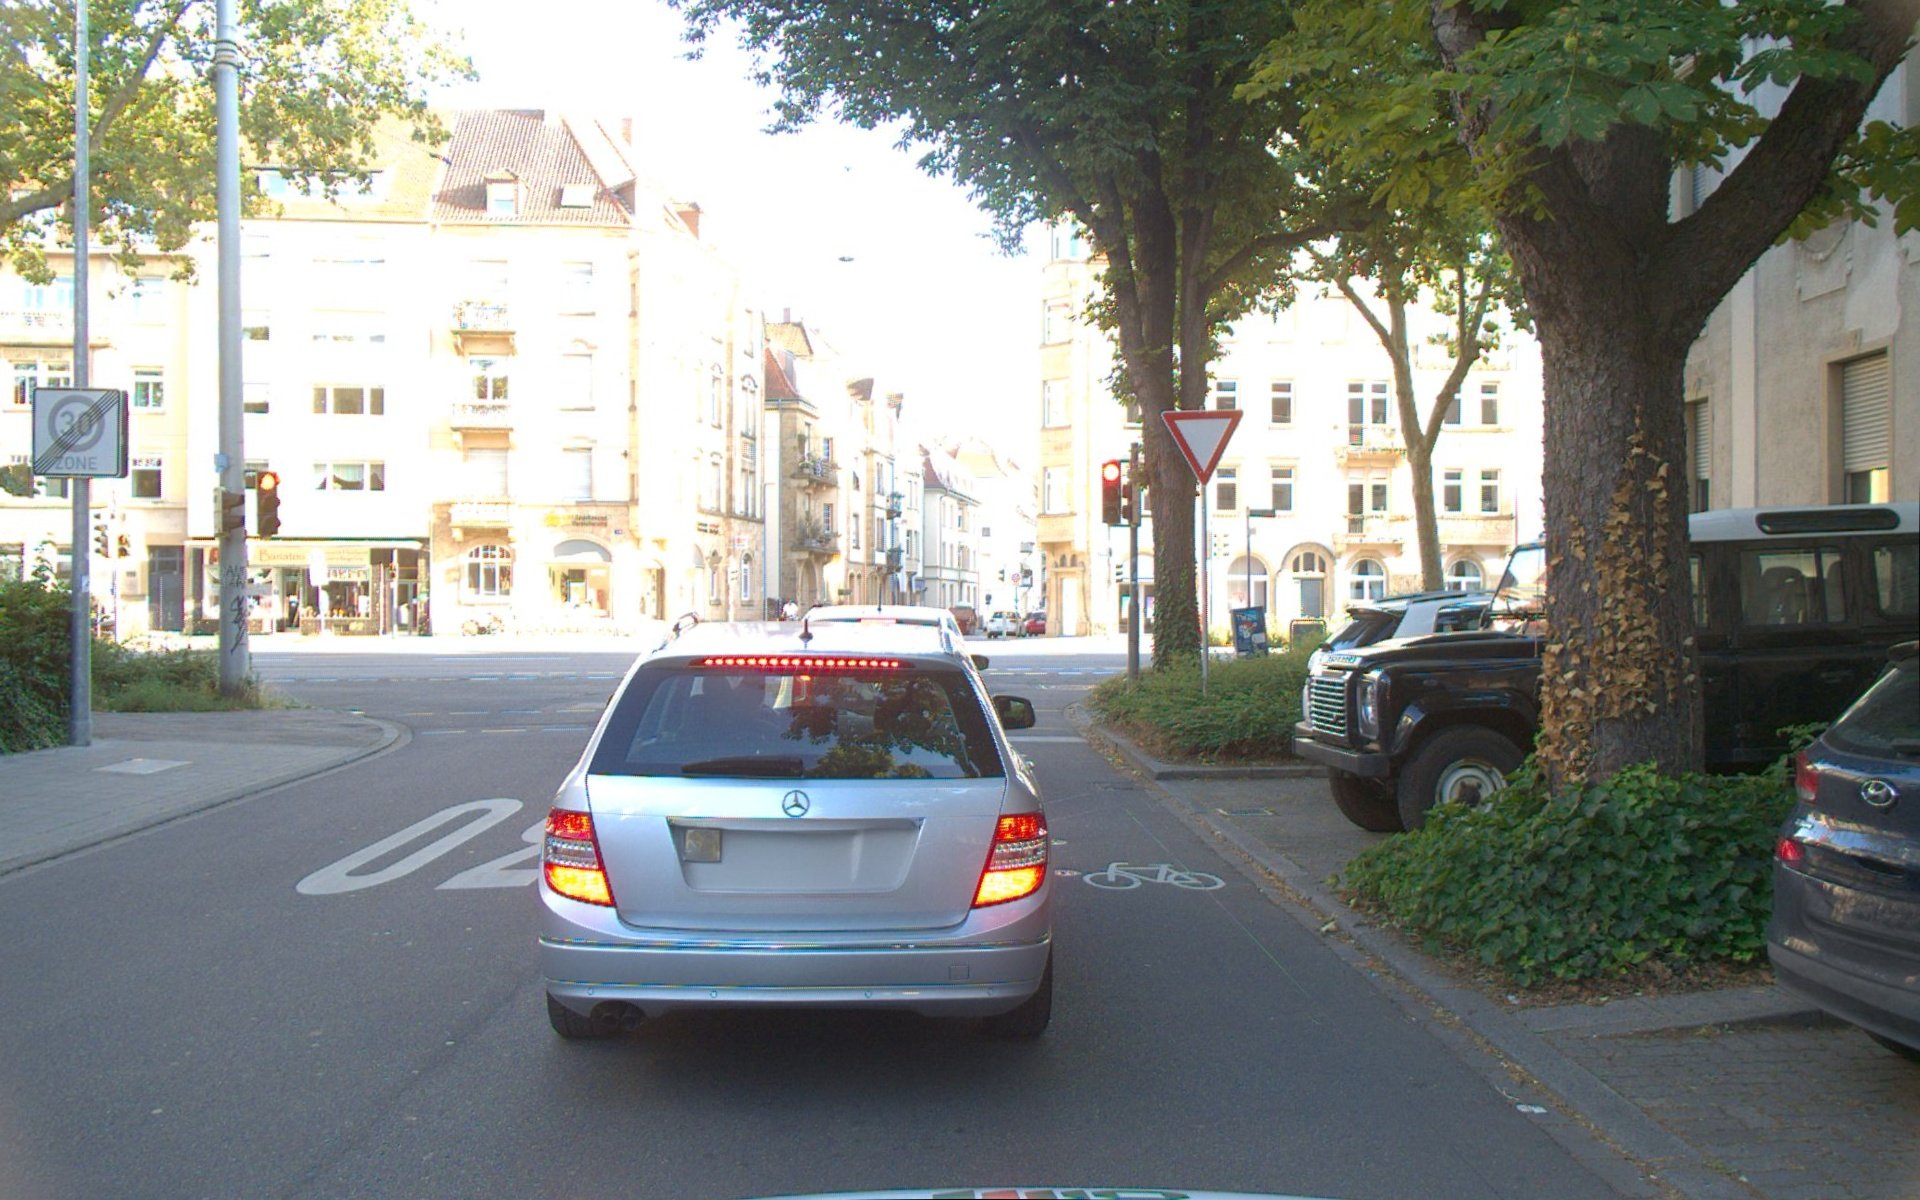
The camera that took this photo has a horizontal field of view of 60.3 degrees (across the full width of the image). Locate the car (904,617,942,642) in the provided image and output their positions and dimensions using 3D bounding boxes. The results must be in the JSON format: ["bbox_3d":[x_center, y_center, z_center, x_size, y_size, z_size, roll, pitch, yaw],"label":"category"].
[{"bbox_3d":[-2.271,1.816,102.459,1.796,1.427,4.003,0,1,7],"label":"car"}]

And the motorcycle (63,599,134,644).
[{"bbox_3d":[-28.381,0.703,54.490,1.993,1.477,0.568,0,0,-5],"label":"motorcycle"}]

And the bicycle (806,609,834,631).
[{"bbox_3d":[-6.208,0.879,73.355,0.754,0.950,1.942,1,0,10],"label":"bicycle"}]

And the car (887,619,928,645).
[{"bbox_3d":[-3.070,1.866,96.955,1.796,1.427,4.003,0,1,7],"label":"car"}]

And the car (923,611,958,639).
[{"bbox_3d":[-1.268,1.627,108.707,1.796,1.692,4.003,0,1,7],"label":"car"}]

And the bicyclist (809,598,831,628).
[{"bbox_3d":[-6.206,0.580,73.357,0.754,1.312,0.753,1,0,10],"label":"bicyclist"}]

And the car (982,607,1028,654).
[{"bbox_3d":[2.355,1.548,85.901,1.987,2.319,4.003,0,1,7],"label":"car"}]

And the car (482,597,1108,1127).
[{"bbox_3d":[-0.549,0.739,6.931,1.741,1.477,4.546,1,0,-2],"label":"car"}]

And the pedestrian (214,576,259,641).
[{"bbox_3d":[-28.368,0.342,64.833,1.320,2.507,1.059,0,0,-5],"label":"pedestrian"}]

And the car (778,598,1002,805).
[{"bbox_3d":[-0.590,0.728,14.021,1.587,1.472,4.342,1,0,-2],"label":"car"}]

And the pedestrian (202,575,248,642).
[{"bbox_3d":[-27.944,0.325,62.887,1.320,2.507,1.059,0,0,-5],"label":"pedestrian"}]

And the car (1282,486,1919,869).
[{"bbox_3d":[4.371,0.412,10.172,4.377,2.072,1.699,-1,0,-4],"label":"car"}]

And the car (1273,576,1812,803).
[{"bbox_3d":[4.512,0.659,13.140,3.650,1.597,1.707,-1,0,-4],"label":"car"}]

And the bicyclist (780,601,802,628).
[{"bbox_3d":[-7.486,0.638,73.327,0.754,1.177,0.753,1,0,10],"label":"bicyclist"}]

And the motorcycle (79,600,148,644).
[{"bbox_3d":[-28.491,0.735,55.679,1.993,1.477,0.568,0,0,-5],"label":"motorcycle"}]

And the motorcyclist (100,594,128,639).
[{"bbox_3d":[-28.474,0.554,55.675,0.668,1.477,0.568,0,0,-5],"label":"motorcyclist"}]

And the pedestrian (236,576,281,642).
[{"bbox_3d":[-27.017,0.358,63.732,1.320,2.507,1.059,0,0,-5],"label":"pedestrian"}]

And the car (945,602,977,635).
[{"bbox_3d":[0.085,1.273,117.321,1.749,2.242,4.003,0,1,7],"label":"car"}]

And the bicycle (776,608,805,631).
[{"bbox_3d":[-7.504,0.864,73.248,0.754,0.956,1.942,1,0,10],"label":"bicycle"}]

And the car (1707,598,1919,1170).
[{"bbox_3d":[4.286,0.702,4.594,3.650,1.477,1.707,-1,0,-4],"label":"car"}]

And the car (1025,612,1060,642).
[{"bbox_3d":[5.119,1.649,101.974,1.796,1.775,4.003,0,1,7],"label":"car"}]
